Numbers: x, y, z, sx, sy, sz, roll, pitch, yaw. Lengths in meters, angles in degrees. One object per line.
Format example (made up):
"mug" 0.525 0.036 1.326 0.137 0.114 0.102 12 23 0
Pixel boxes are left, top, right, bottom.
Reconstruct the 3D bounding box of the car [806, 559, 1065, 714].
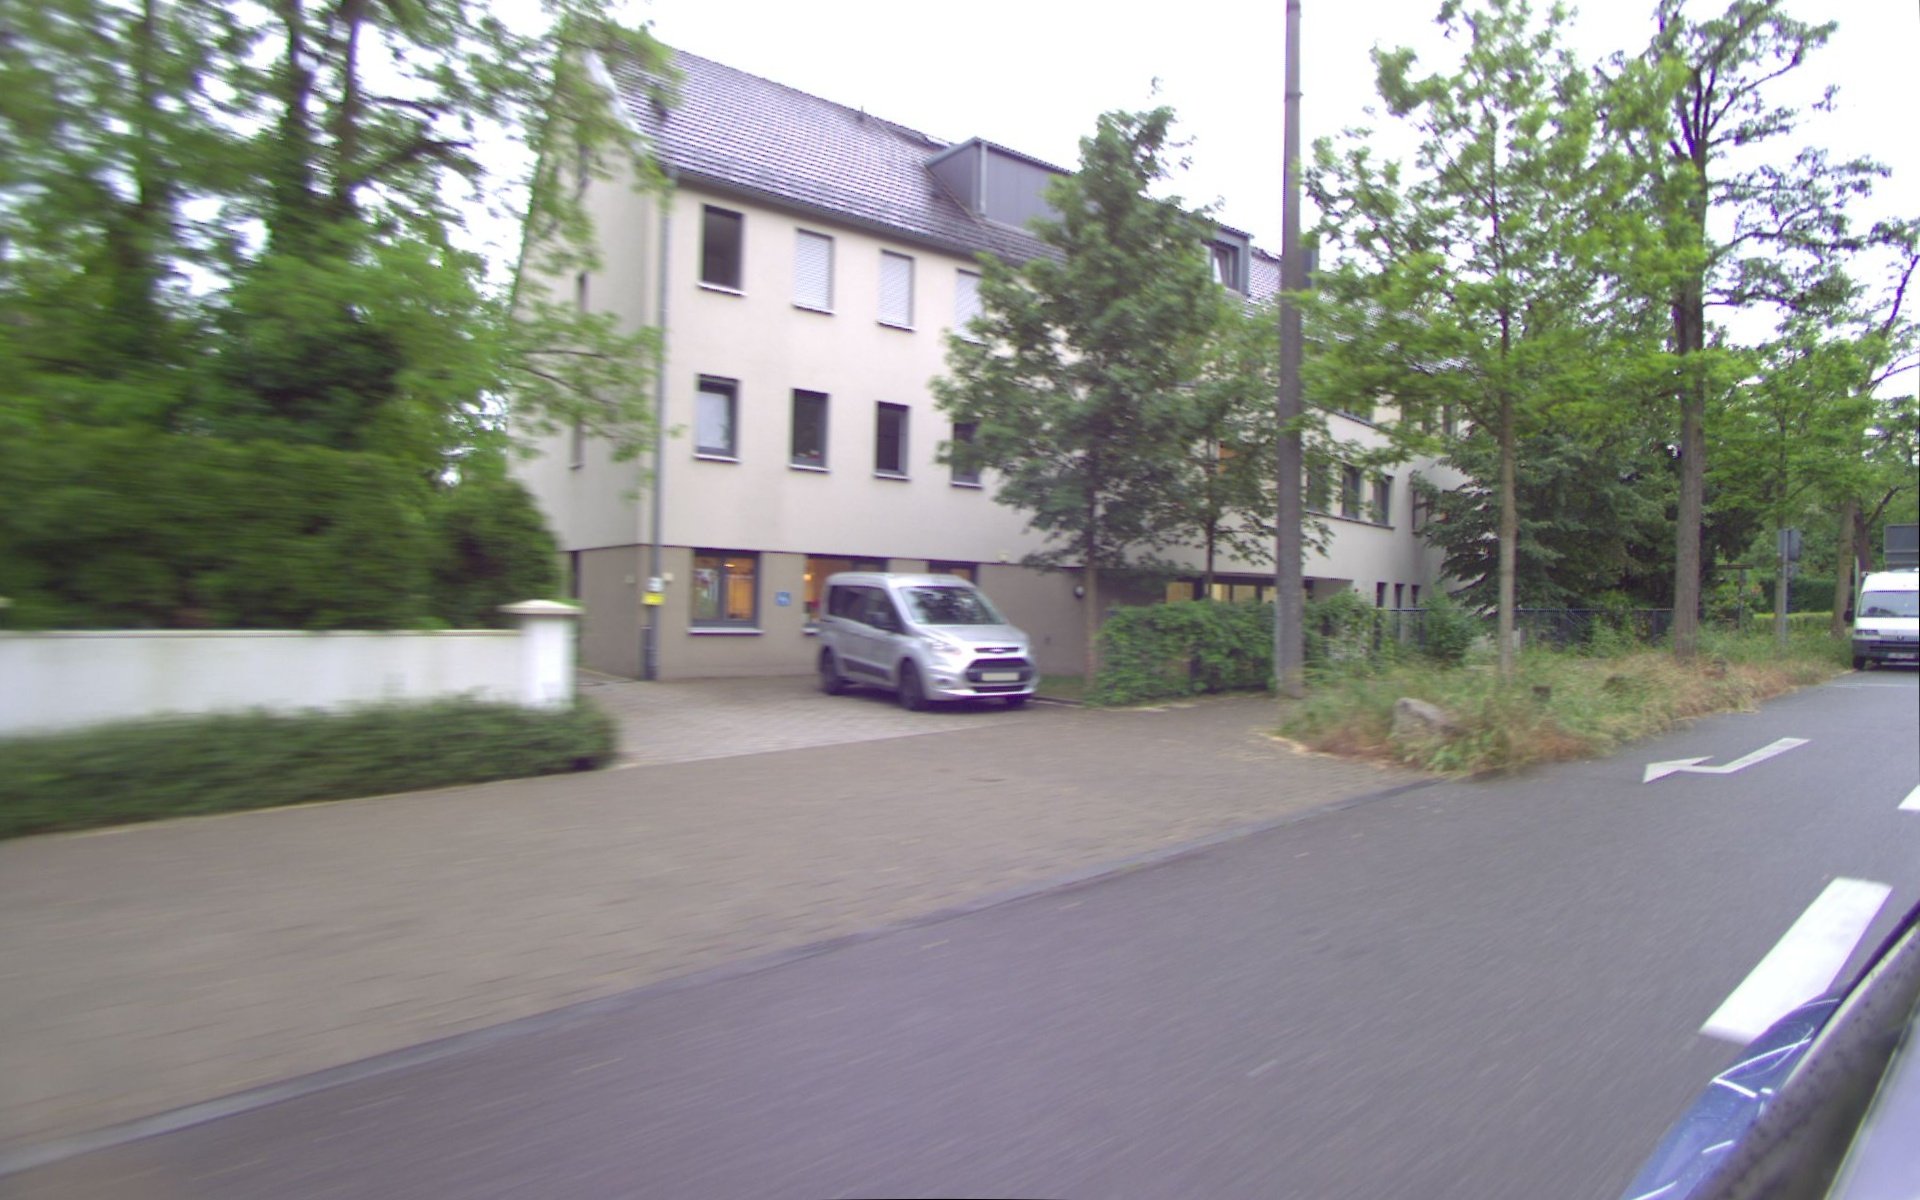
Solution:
"car" -0.529 0.432 14.395 1.837 1.841 4.322 0 0 -30

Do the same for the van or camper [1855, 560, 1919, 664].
"van or camper" 25.035 0.285 26.251 5.541 2.511 2.039 0 -2 -42
